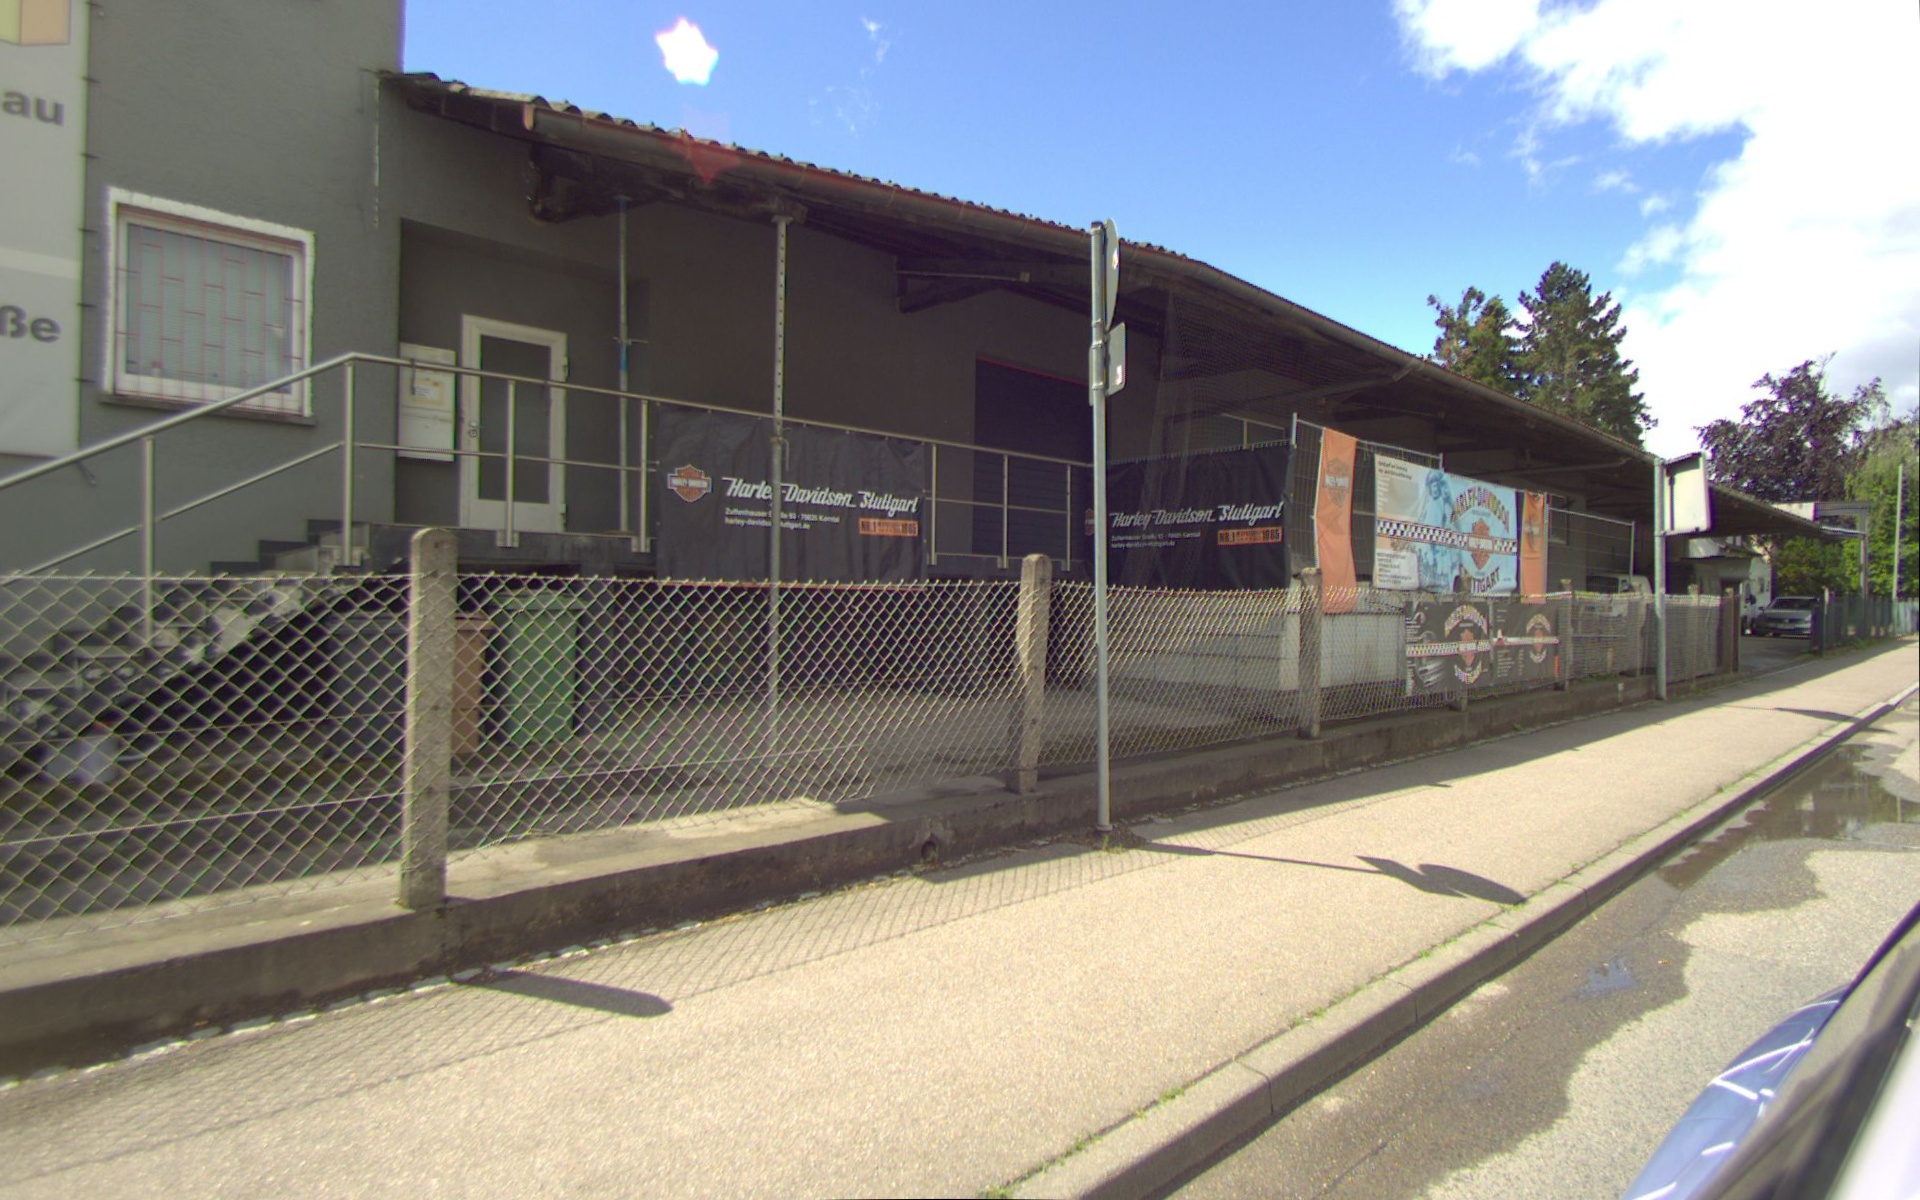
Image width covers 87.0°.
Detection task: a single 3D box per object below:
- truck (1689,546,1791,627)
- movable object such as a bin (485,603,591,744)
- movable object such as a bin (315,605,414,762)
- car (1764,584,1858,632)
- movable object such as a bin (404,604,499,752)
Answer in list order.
[{"bbox_3d":[29.501,-0.504,38.232,5.112,2.864,2.089,-1,0,-41],"label":"truck"},{"bbox_3d":[-3.024,0.500,7.251,0.574,0.942,0.482,0,0,-42],"label":"movable object such as a bin"},{"bbox_3d":[-3.832,0.511,6.509,0.466,0.942,0.482,0,0,-42],"label":"movable object such as a bin"},{"bbox_3d":[29.848,0.236,35.443,5.114,1.549,1.860,-1,1,-42],"label":"car"},{"bbox_3d":[-3.449,0.506,6.859,0.466,0.942,0.482,0,0,-42],"label":"movable object such as a bin"}]
